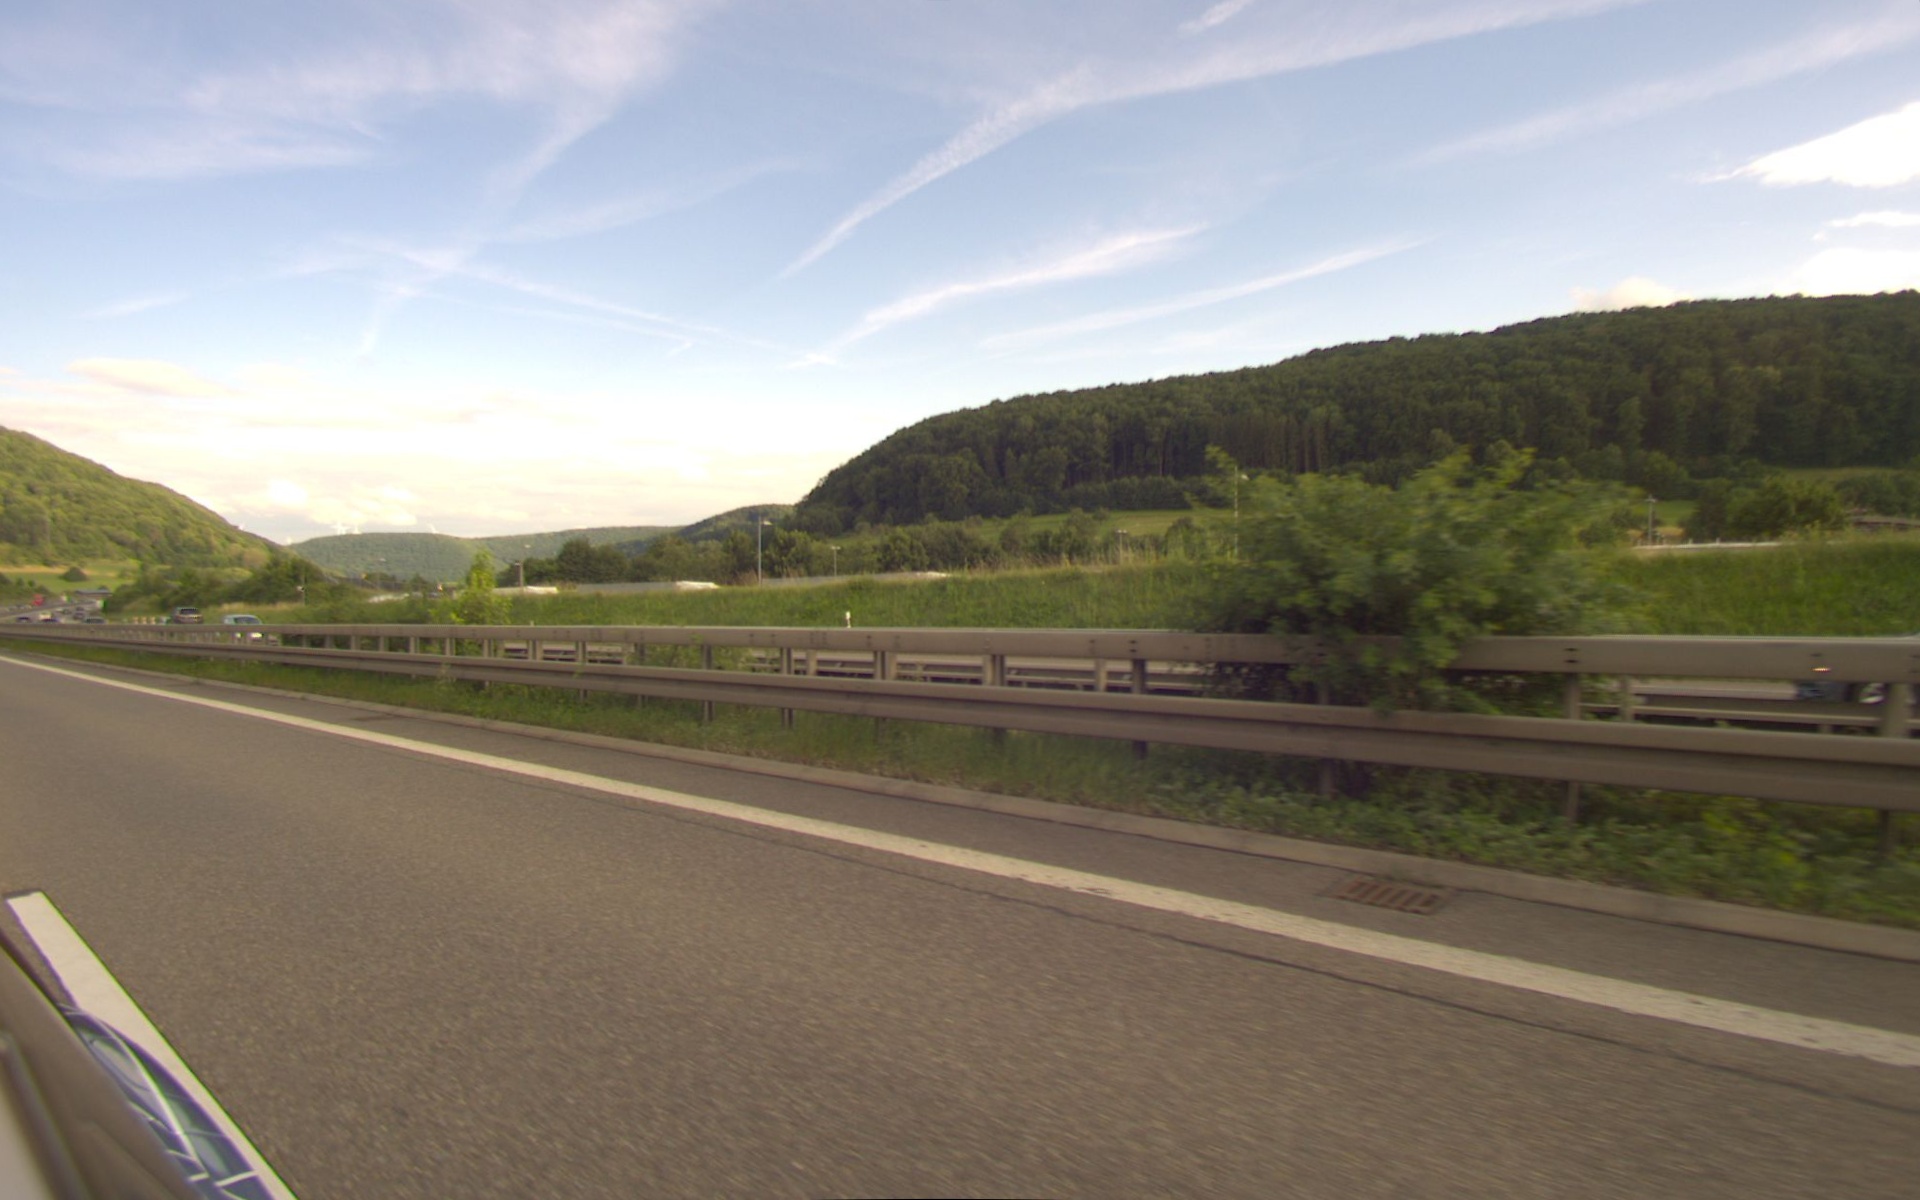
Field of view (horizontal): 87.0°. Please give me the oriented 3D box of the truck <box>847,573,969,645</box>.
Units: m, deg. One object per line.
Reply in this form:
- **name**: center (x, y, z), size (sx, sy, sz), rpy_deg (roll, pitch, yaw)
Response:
- **truck**: center (-2.931, 0.516, 55.539), size (6.588, 3.719, 2.851), rpy_deg (-1, -2, 41)

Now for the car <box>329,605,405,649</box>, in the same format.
- **car**: center (-29.855, 1.354, 50.912), size (4.518, 2.129, 1.931), rpy_deg (-1, -2, 41)

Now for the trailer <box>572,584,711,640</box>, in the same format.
- **trailer**: center (-23.369, 0.871, 73.542), size (13.670, 3.724, 2.847), rpy_deg (0, -2, 41)

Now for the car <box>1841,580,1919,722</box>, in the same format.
- **car**: center (11.595, 0.523, 10.211), size (3.996, 1.475, 1.636), rpy_deg (-1, -2, 40)

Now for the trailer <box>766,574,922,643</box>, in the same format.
- **trailer**: center (-6.946, 0.574, 59.106), size (10.368, 3.724, 2.847), rpy_deg (-1, -2, 41)

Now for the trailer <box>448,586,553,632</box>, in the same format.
- **trailer**: center (-40.476, 0.860, 88.712), size (13.667, 3.724, 2.848), rpy_deg (-1, -1, 41)

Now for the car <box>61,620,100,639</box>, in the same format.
- **car**: center (-73.468, 2.445, 84.543), size (3.871, 1.487, 1.931), rpy_deg (-1, -2, 41)

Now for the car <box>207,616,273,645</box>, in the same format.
- **car**: center (-37.440, 1.557, 52.590), size (3.871, 1.459, 1.931), rpy_deg (-1, -2, 41)

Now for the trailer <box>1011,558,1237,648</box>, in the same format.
- **trailer**: center (7.274, 0.233, 46.477), size (10.368, 3.724, 2.847), rpy_deg (-1, -2, 41)

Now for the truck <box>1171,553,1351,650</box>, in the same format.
- **truck**: center (12.389, 0.136, 41.962), size (6.588, 3.719, 2.851), rpy_deg (-1, -2, 41)

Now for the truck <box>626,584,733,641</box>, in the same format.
- **truck**: center (-19.547, 0.860, 70.160), size (8.489, 3.719, 2.851), rpy_deg (0, -2, 41)

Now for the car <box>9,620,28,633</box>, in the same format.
- **car**: center (-137.860, 3.871, 148.124), size (4.341, 1.626, 1.787), rpy_deg (1, 1, 43)

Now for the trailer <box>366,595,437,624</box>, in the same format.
- **trailer**: center (-57.709, 0.910, 104.389), size (12.260, 2.875, 2.551), rpy_deg (1, 1, 42)

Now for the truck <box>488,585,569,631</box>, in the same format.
- **truck**: center (-36.400, 0.732, 85.253), size (8.488, 3.719, 2.851), rpy_deg (-1, -2, 41)

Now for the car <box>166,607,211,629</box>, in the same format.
- **car**: center (-59.212, 1.406, 77.686), size (3.998, 1.630, 1.973), rpy_deg (-1, -2, 41)
